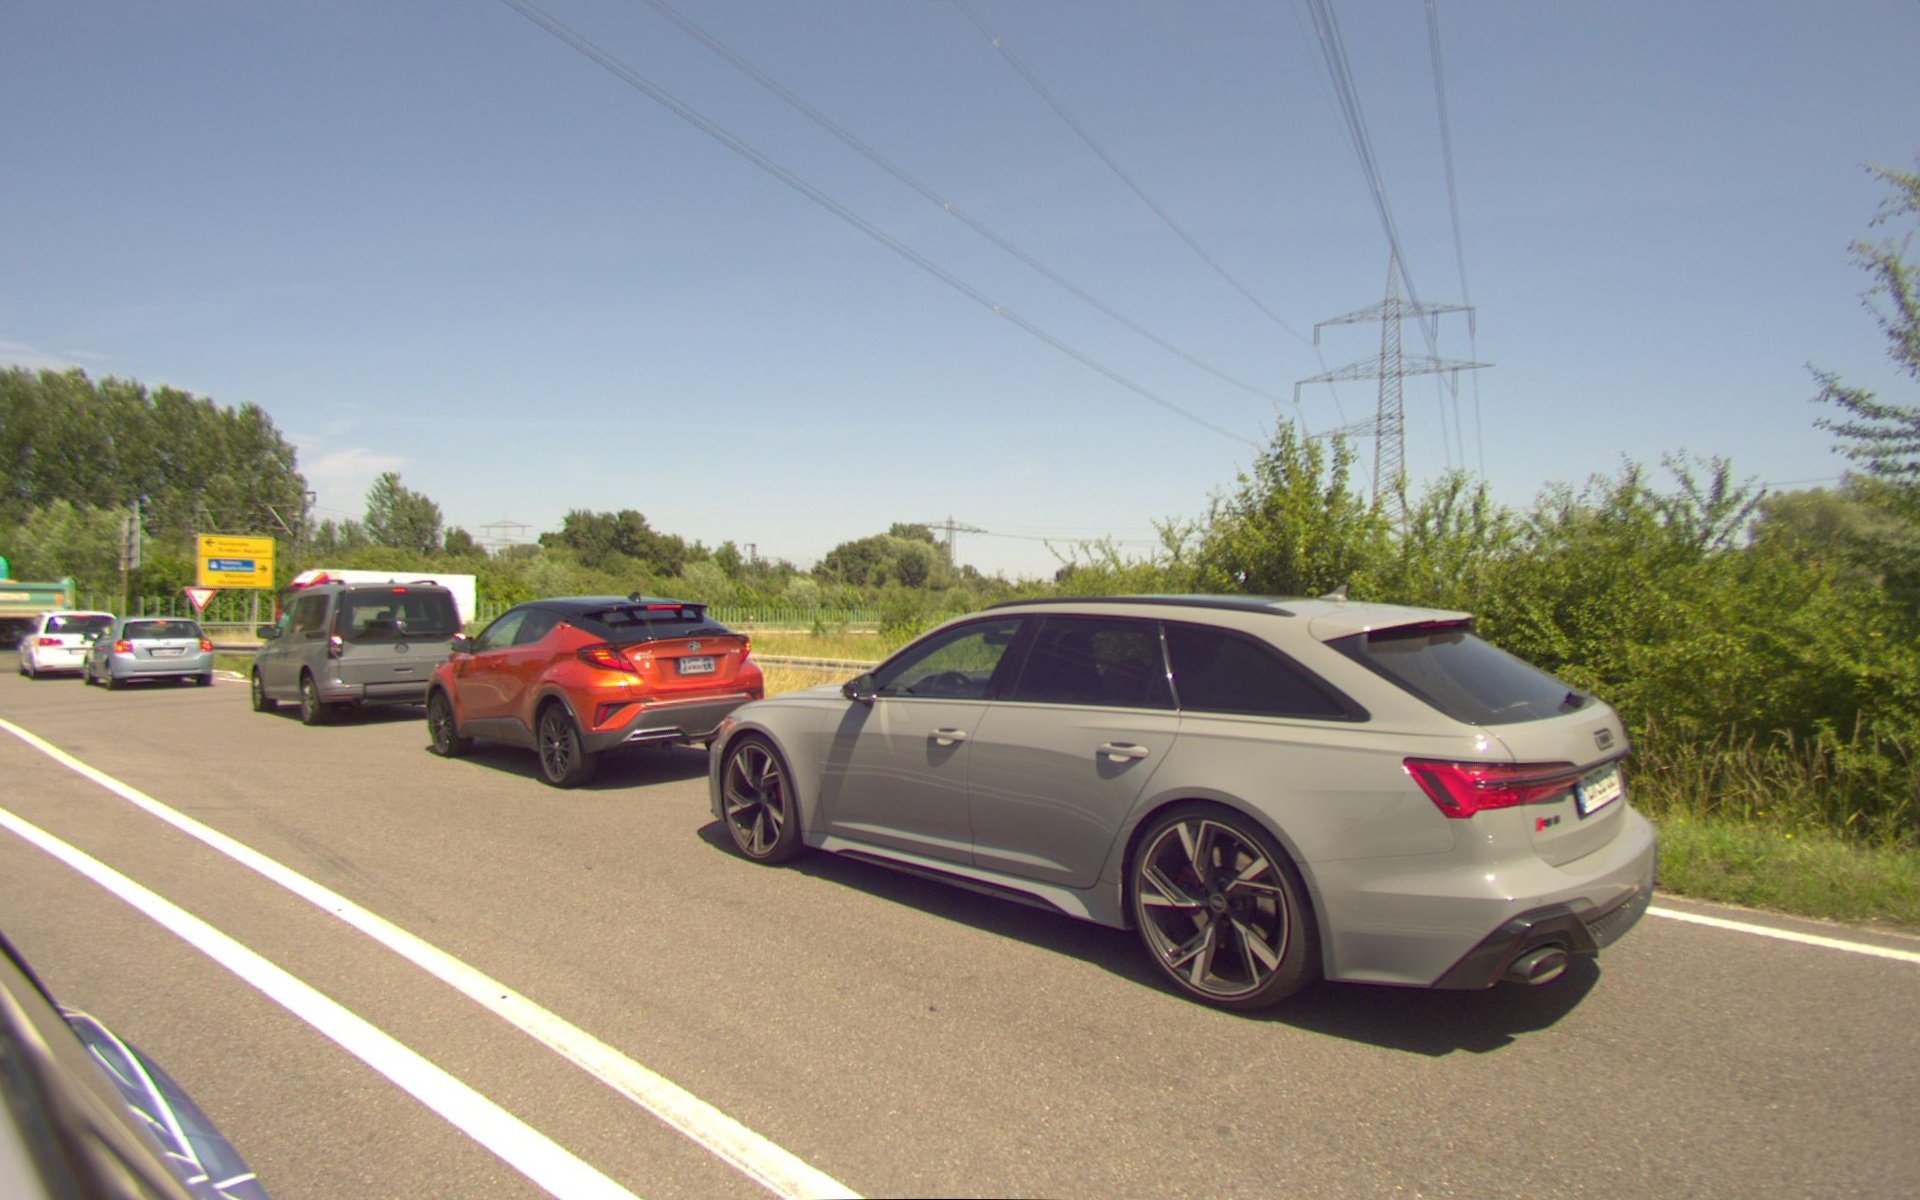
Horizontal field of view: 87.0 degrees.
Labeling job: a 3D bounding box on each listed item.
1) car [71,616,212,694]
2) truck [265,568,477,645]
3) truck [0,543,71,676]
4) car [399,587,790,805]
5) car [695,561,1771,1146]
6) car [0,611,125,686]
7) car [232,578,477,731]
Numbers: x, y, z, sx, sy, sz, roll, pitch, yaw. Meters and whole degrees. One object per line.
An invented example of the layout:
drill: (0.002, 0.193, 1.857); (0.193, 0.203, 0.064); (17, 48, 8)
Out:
car: (-17.107, 1.096, 21.090); (4.006, 1.470, 1.615); (-1, -2, 41)
truck: (-29.871, 0.262, 51.980); (2.713, 3.606, 9.465); (0, 0, 28)
truck: (-28.366, 0.300, 28.881); (7.589, 3.498, 2.580); (-1, -2, 34)
car: (-3.613, 0.692, 9.507); (1.778, 1.527, 4.395); (-3, 2, -44)
car: (0.745, 0.646, 4.920); (1.820, 1.471, 4.813); (0, 0, -44)
car: (-21.988, 1.131, 24.728); (4.328, 1.633, 1.754); (-1, -1, 41)
car: (-8.738, 0.696, 14.438); (4.440, 1.846, 1.905); (-2, -1, 44)
